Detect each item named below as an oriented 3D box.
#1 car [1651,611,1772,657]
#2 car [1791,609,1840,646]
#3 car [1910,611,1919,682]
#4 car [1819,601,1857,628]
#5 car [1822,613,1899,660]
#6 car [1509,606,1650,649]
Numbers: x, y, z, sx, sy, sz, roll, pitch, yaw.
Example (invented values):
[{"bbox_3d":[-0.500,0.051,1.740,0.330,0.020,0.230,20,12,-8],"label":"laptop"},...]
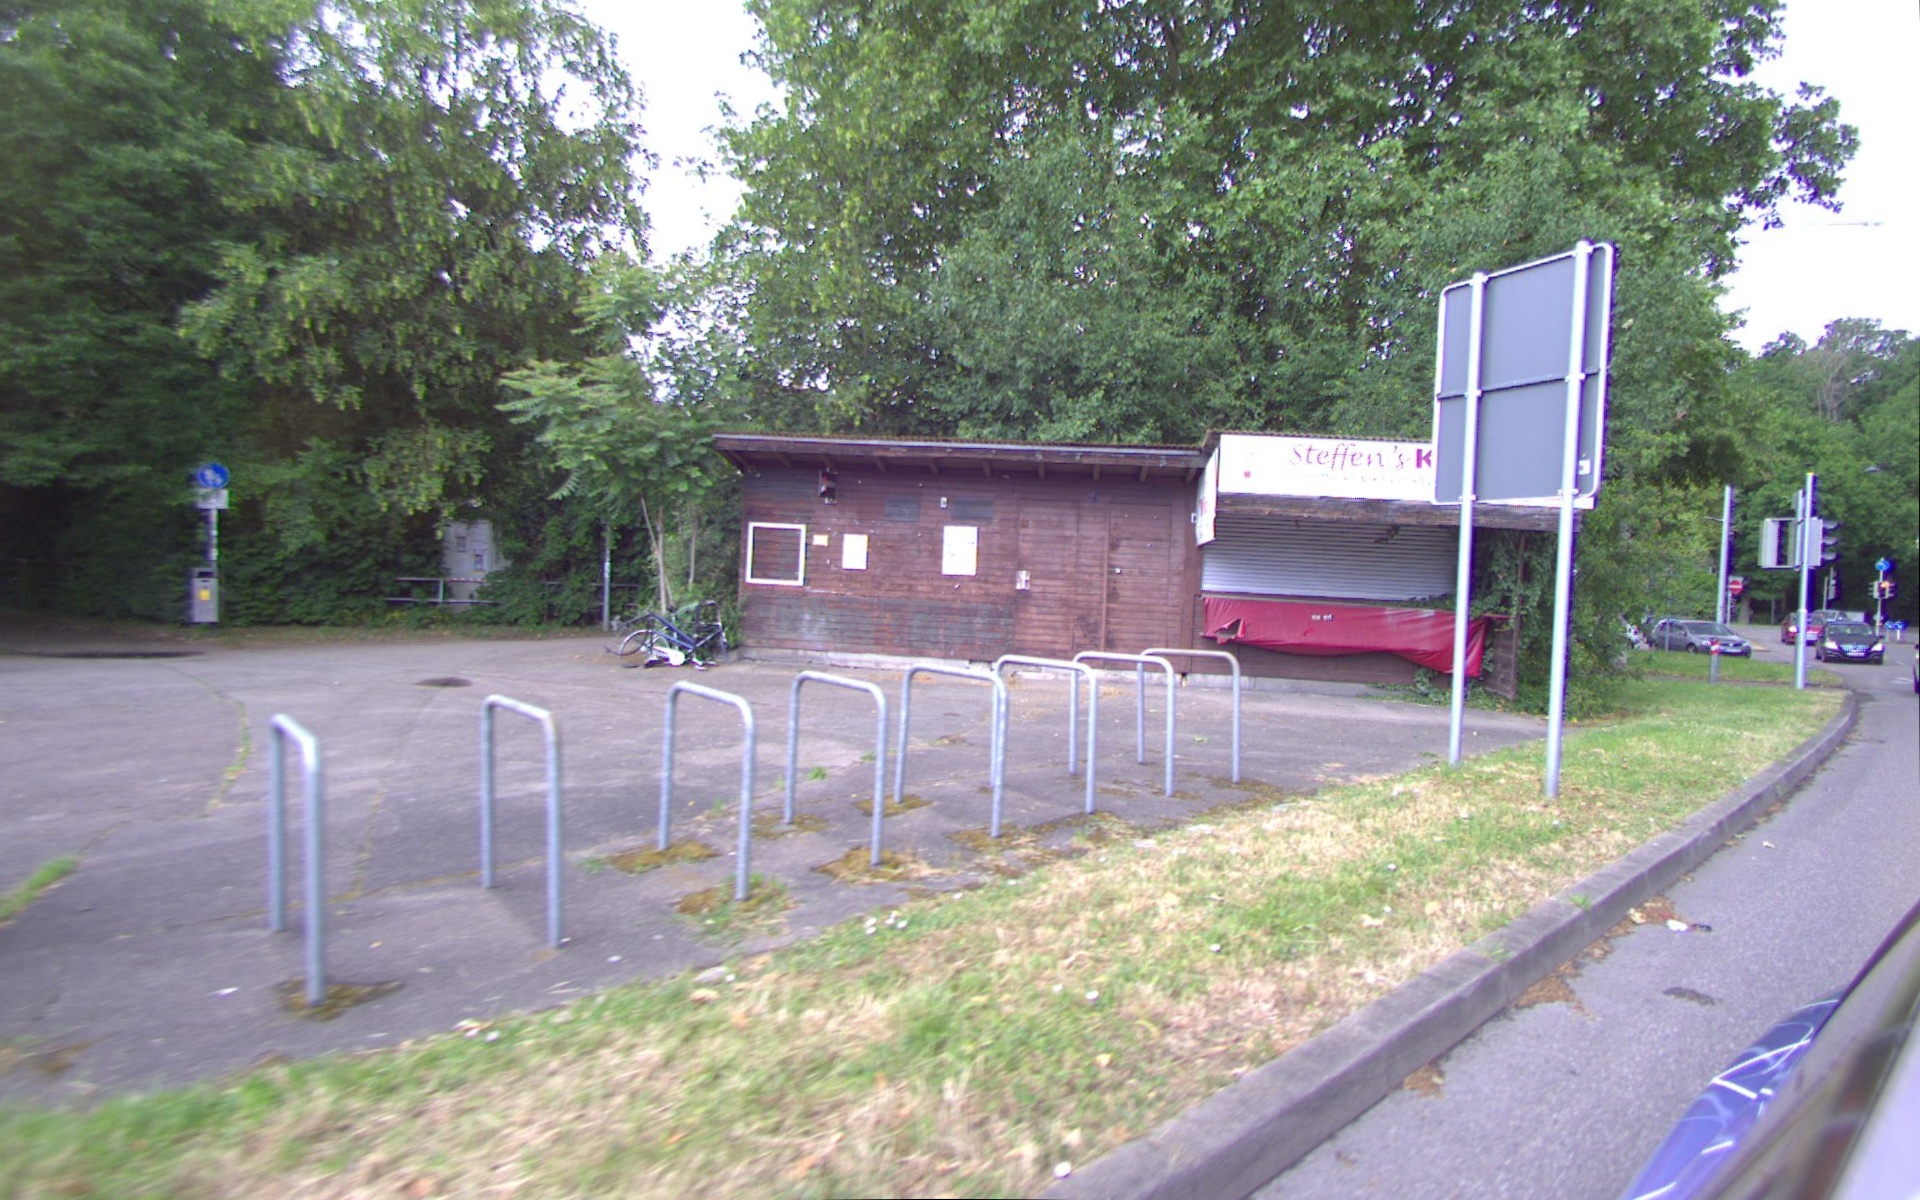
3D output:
[{"bbox_3d":[26.987,1.175,36.528,1.705,1.447,4.102,2,0,8],"label":"car"},{"bbox_3d":[44.185,1.362,52.329,1.668,1.661,4.045,4,3,37],"label":"car"},{"bbox_3d":[20.822,1.036,20.548,1.619,1.527,3.950,3,1,35],"label":"car"},{"bbox_3d":[58.347,0.948,67.264,1.778,1.588,3.940,4,3,41],"label":"car"},{"bbox_3d":[34.750,1.366,39.132,1.721,1.539,3.949,4,3,35],"label":"car"},{"bbox_3d":[23.484,1.023,38.447,4.181,1.398,1.765,2,1,1],"label":"car"}]
